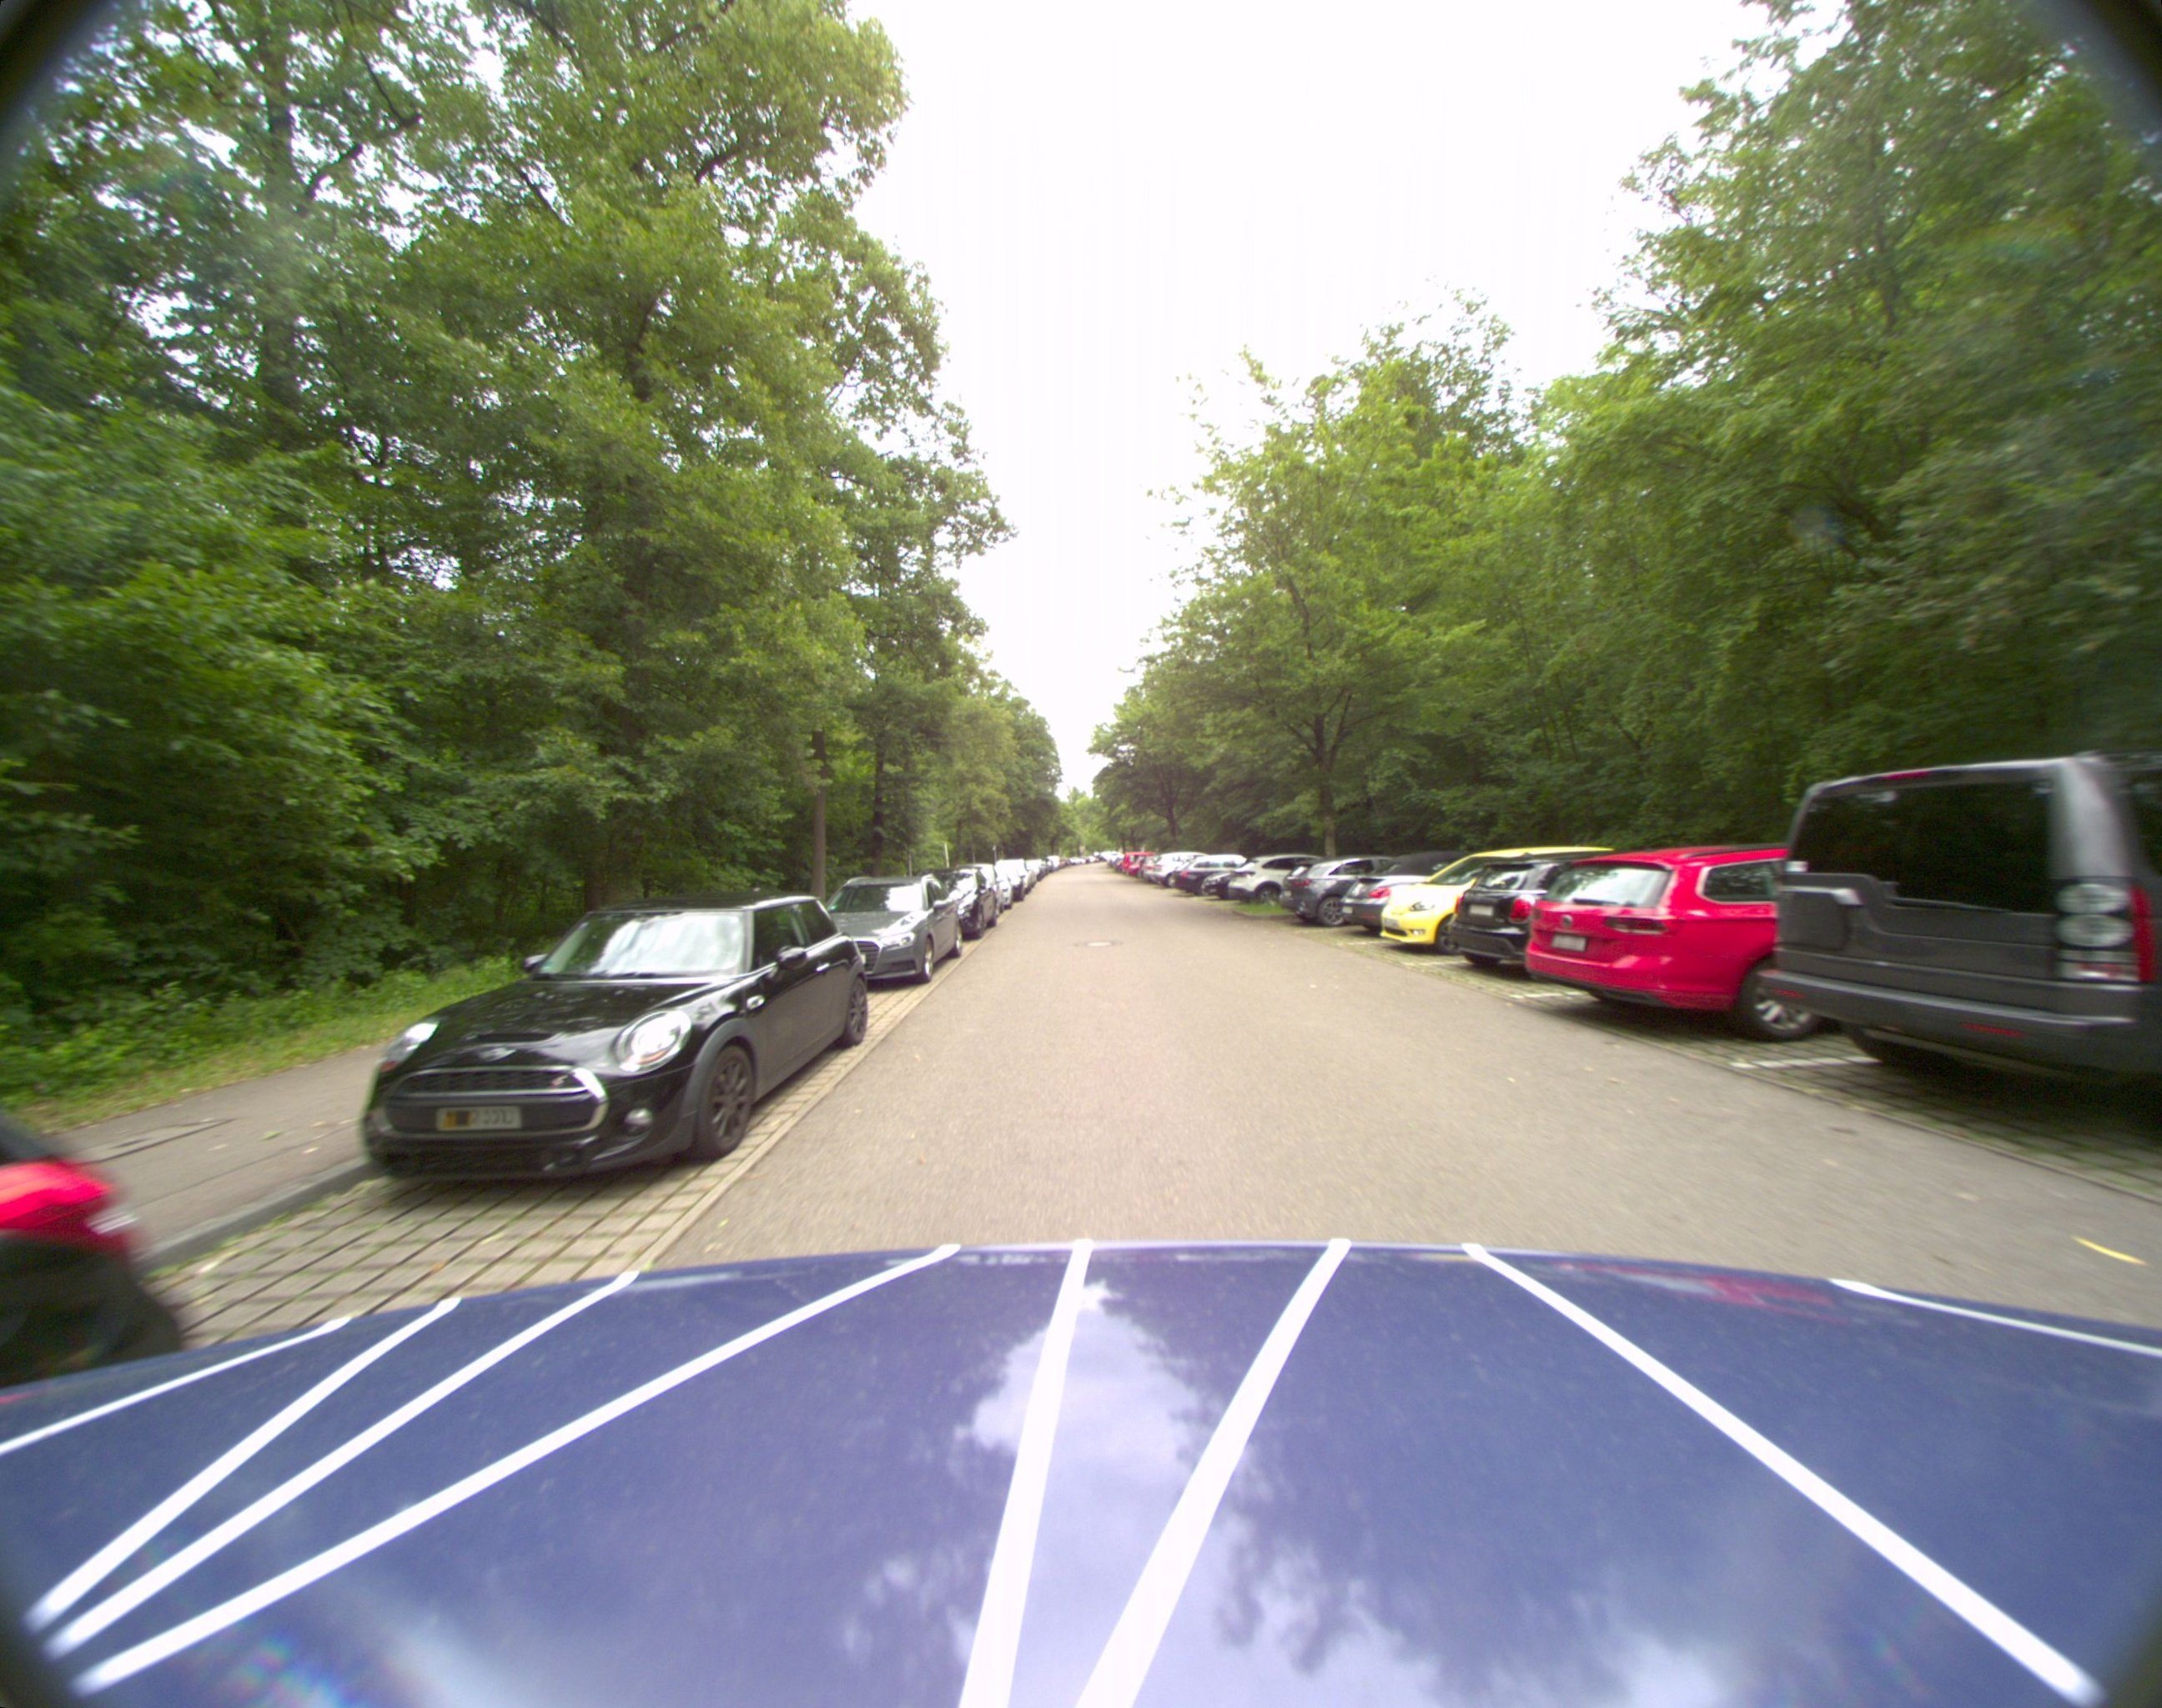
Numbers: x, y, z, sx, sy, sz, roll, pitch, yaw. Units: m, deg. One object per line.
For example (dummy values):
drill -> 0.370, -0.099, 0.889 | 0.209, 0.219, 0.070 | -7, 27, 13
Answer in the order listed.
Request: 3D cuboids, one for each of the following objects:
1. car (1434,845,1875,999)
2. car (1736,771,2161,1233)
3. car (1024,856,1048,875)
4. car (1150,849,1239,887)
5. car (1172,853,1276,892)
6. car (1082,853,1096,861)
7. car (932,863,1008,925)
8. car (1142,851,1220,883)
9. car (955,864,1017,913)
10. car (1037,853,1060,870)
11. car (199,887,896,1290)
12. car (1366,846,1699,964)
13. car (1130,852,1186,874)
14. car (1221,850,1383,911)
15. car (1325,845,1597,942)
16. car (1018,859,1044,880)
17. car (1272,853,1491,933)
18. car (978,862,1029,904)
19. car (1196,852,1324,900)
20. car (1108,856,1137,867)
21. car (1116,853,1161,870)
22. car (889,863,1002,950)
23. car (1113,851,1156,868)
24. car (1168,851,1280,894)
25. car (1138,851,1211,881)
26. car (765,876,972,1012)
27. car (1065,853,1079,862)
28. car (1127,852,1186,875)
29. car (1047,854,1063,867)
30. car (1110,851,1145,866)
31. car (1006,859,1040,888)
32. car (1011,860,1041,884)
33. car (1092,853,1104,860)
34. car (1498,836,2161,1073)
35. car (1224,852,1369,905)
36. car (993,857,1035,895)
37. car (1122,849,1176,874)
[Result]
car -> 6.605, 0.726, 9.026 | 3.998, 1.430, 1.671 | -3, 0, -3
car -> 6.236, 0.489, 3.982 | 3.997, 1.851, 1.813 | -3, 0, -1
car -> -3.893, 0.979, 66.358 | 1.907, 1.577, 4.480 | -3, 0, -2
car -> 5.460, 0.673, 36.918 | 3.998, 1.652, 1.814 | -2, 0, -2
car -> 5.931, 0.756, 31.775 | 3.997, 1.427, 1.648 | -2, 0, 1
car -> 1.576, 0.634, 147.255 | 1.771, 1.307, 3.895 | -3, -2, 13
car -> -3.176, 1.095, 22.374 | 1.741, 1.559, 4.007 | -3, 0, -2
car -> 5.458, 0.689, 41.760 | 3.997, 1.652, 1.814 | -1, 0, 0
car -> -3.219, 1.131, 26.484 | 1.741, 1.416, 4.153 | -3, 0, -2
car -> -3.483, 0.799, 82.796 | 1.909, 1.713, 4.486 | -3, 0, 4
car -> -2.797, 1.090, 5.457 | 1.740, 1.423, 4.501 | -3, 0, 0
car -> 6.617, 0.707, 11.414 | 3.997, 1.430, 1.617 | -3, 0, -1
car -> 5.733, 0.650, 57.155 | 3.997, 1.507, 1.818 | -2, 0, -1
car -> 6.146, 0.718, 21.389 | 3.997, 1.458, 1.715 | -3, 0, -1
car -> 6.719, 0.672, 13.736 | 3.997, 1.430, 1.733 | -3, 0, -1
car -> -3.630, 1.111, 55.866 | 1.741, 1.426, 4.744 | -3, 0, -2
car -> 6.396, 0.797, 16.461 | 3.997, 1.430, 1.715 | -3, 0, -1
car -> -3.089, 1.104, 31.017 | 1.741, 1.465, 4.604 | -3, 0, -2
car -> 6.140, 0.742, 26.338 | 3.997, 1.427, 1.677 | -3, 0, 1
car -> 6.114, 1.052, 111.738 | 3.998, 1.469, 1.713 | -2, 0, -4
car -> 5.199, 0.667, 69.311 | 3.996, 1.413, 1.742 | -2, 0, 2
car -> -2.897, 1.061, 17.153 | 1.741, 1.580, 4.381 | -3, 0, -1
car -> 5.565, 0.565, 79.216 | 4.222, 1.528, 1.818 | -2, 0, -1
car -> 5.467, 0.698, 29.404 | 3.997, 1.427, 1.677 | -3, 0, 1
car -> 5.413, 0.690, 44.228 | 3.998, 1.652, 1.695 | -1, 0, -2
car -> -2.878, 1.143, 11.375 | 1.740, 1.423, 4.501 | -3, 0, 0
car -> -1.548, 0.615, 127.899 | 1.501, 1.470, 3.669 | -2, 0, 12
car -> 5.340, 0.666, 54.189 | 3.997, 1.507, 1.771 | -2, 0, -1
car -> -3.226, 0.792, 94.416 | 1.580, 1.610, 3.963 | -3, 0, 4
car -> 5.577, 0.561, 91.736 | 3.998, 1.717, 1.713 | -2, 0, -4
car -> -3.323, 1.093, 44.018 | 1.741, 1.471, 4.768 | -3, 0, -2
car -> -3.538, 1.117, 49.781 | 1.741, 1.398, 4.426 | -3, 0, -2
car -> 3.465, 0.433, 155.264 | 1.771, 1.308, 3.893 | -3, 1, 13
car -> 6.007, 0.715, 6.382 | 3.998, 1.467, 1.779 | -3, 0, -3
car -> 6.658, 0.739, 23.752 | 3.997, 1.427, 1.702 | -3, 0, 1
car -> -3.196, 1.013, 37.152 | 1.741, 1.634, 5.070 | -3, 0, -2
car -> 5.263, 0.593, 59.131 | 3.997, 1.804, 1.818 | -2, 0, -1
